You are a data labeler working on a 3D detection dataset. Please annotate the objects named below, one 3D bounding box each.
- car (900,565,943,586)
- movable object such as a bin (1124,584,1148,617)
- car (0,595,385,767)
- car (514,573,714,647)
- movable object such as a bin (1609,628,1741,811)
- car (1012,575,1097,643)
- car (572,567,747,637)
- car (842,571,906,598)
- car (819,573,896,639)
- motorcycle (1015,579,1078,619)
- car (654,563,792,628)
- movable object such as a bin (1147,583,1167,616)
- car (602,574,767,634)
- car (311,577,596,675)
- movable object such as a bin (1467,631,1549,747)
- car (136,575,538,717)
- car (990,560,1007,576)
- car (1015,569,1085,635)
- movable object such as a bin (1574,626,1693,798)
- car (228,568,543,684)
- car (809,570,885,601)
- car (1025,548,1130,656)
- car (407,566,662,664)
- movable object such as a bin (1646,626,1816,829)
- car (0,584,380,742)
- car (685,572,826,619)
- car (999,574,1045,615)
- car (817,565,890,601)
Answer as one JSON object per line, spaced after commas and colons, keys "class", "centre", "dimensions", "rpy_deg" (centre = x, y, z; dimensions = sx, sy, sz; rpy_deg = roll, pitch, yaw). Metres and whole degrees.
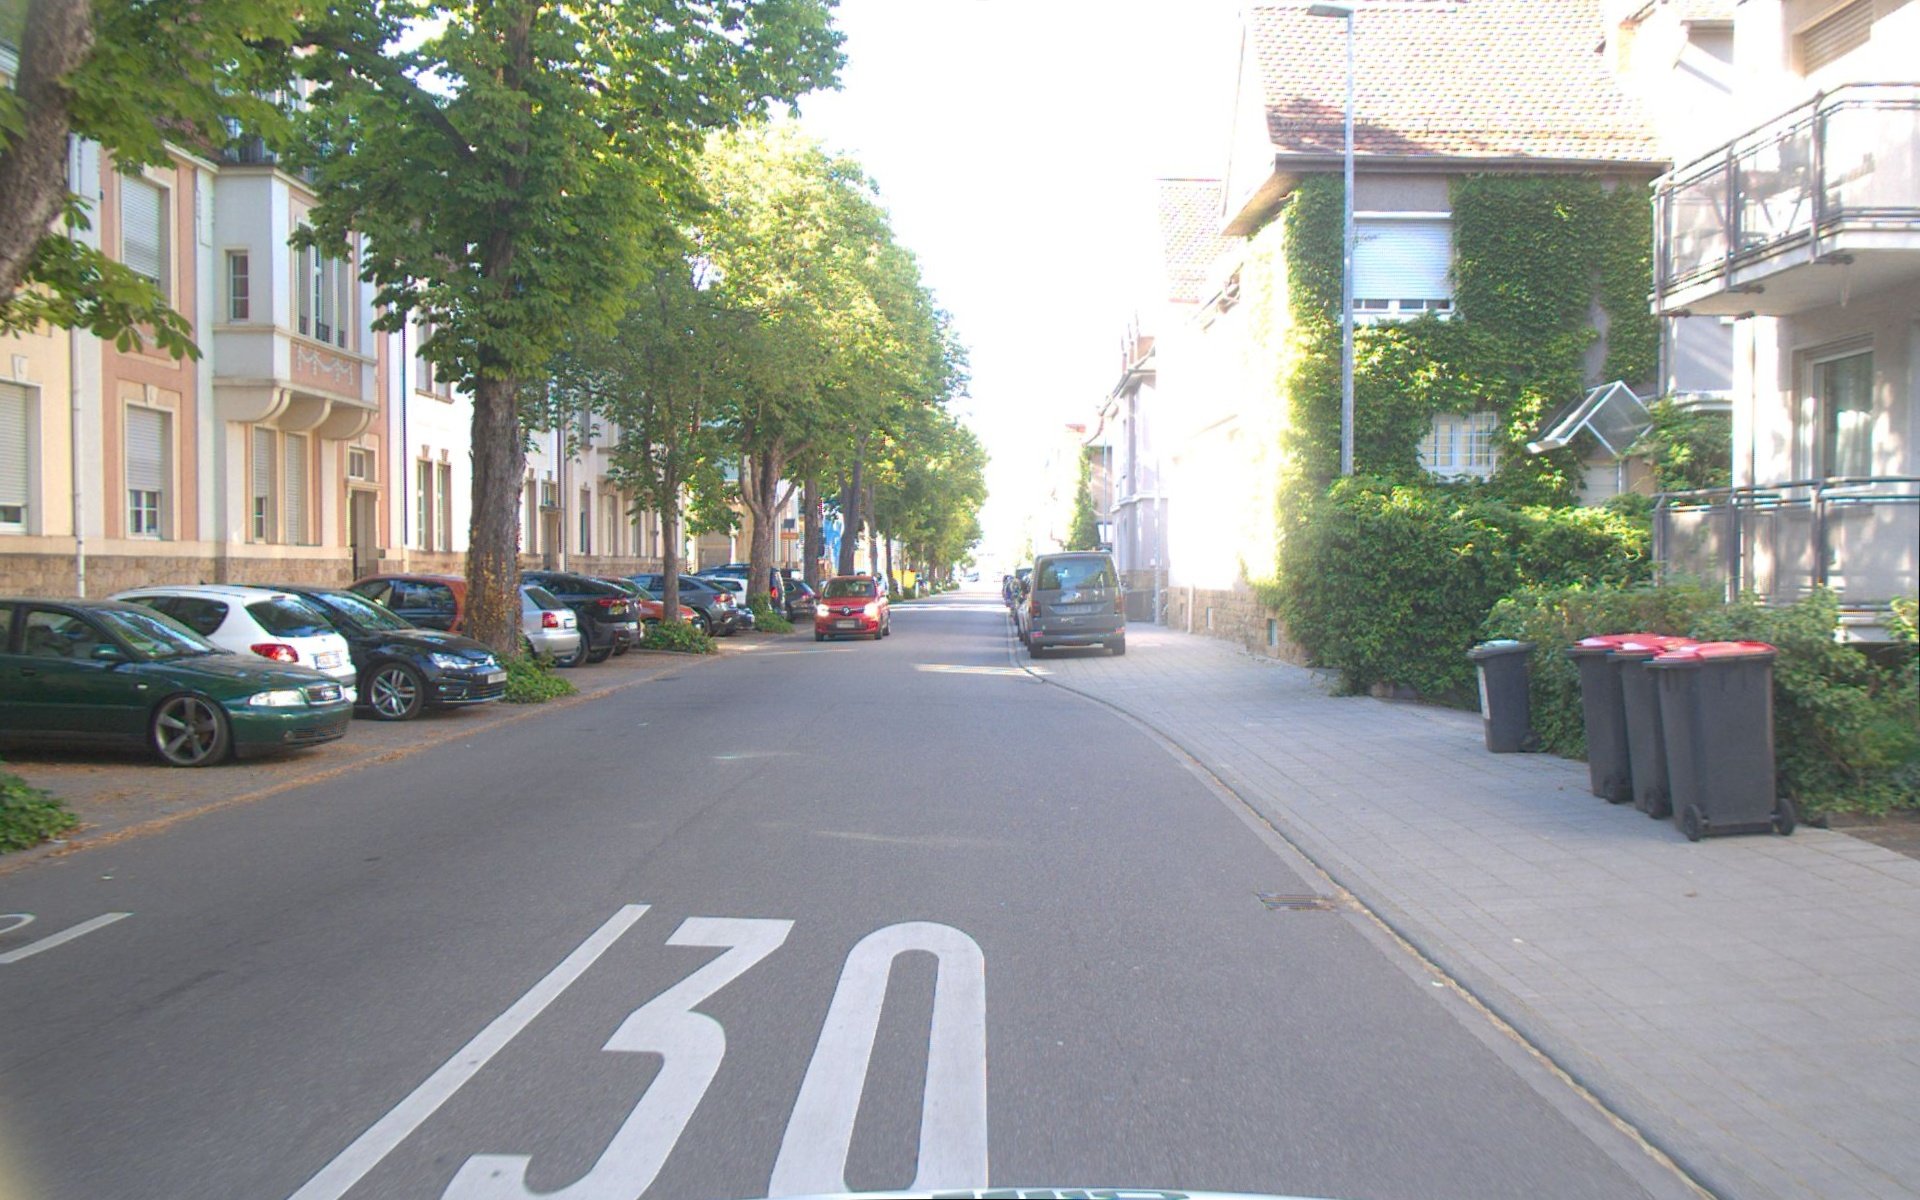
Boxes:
{"class": "car", "centre": [-3.747, -2.431, 161.068], "dimensions": [3.922, 1.873, 2.001], "rpy_deg": [2, 2, 3]}
{"class": "movable object such as a bin", "centre": [5.729, 0.022, 53.865], "dimensions": [0.634, 1.058, 0.828], "rpy_deg": [-1, 1, -1]}
{"class": "car", "centre": [-7.317, 0.647, 14.221], "dimensions": [4.125, 1.372, 1.703], "rpy_deg": [0, 0, 1]}
{"class": "car", "centre": [-7.376, 0.205, 35.521], "dimensions": [3.905, 1.541, 1.747], "rpy_deg": [0, 0, 1]}
{"class": "movable object such as a bin", "centre": [4.467, 0.730, 10.369], "dimensions": [0.473, 1.062, 0.657], "rpy_deg": [-4, 1, -1]}
{"class": "car", "centre": [2.196, 0.166, 39.271], "dimensions": [1.645, 1.483, 4.438], "rpy_deg": [-1, 1, -1]}
{"class": "car", "centre": [-7.310, 0.032, 40.472], "dimensions": [3.905, 1.620, 1.859], "rpy_deg": [1, 1, 0]}
{"class": "car", "centre": [-5.388, -0.977, 103.559], "dimensions": [3.911, 1.579, 1.835], "rpy_deg": [-1, 1, -7]}
{"class": "car", "centre": [-2.509, 0.117, 41.155], "dimensions": [1.607, 1.534, 3.703], "rpy_deg": [-1, 1, 1]}
{"class": "motorcycle", "centre": [3.108, -0.037, 59.431], "dimensions": [2.178, 1.362, 0.909], "rpy_deg": [0, 2, -39]}
{"class": "car", "centre": [-7.080, -0.142, 49.664], "dimensions": [3.898, 1.888, 1.829], "rpy_deg": [0, 0, 0]}
{"class": "movable object such as a bin", "centre": [6.423, -0.021, 53.894], "dimensions": [0.557, 1.058, 0.618], "rpy_deg": [-1, 1, -1]}
{"class": "car", "centre": [-7.101, 0.089, 42.830], "dimensions": [3.820, 1.471, 1.861], "rpy_deg": [1, 1, 6]}
{"class": "car", "centre": [-7.974, 0.381, 26.282], "dimensions": [3.904, 1.428, 1.831], "rpy_deg": [1, 1, 2]}
{"class": "movable object such as a bin", "centre": [4.730, 0.758, 14.297], "dimensions": [0.493, 0.931, 0.573], "rpy_deg": [-4, 1, 3]}
{"class": "car", "centre": [-7.045, 0.492, 18.954], "dimensions": [3.904, 1.508, 1.786], "rpy_deg": [1, 1, 2]}
{"class": "car", "centre": [4.064, -3.428, 175.591], "dimensions": [1.734, 1.659, 3.868], "rpy_deg": [0, 1, 2]}
{"class": "car", "centre": [2.415, 0.052, 44.911], "dimensions": [1.752, 1.628, 4.001], "rpy_deg": [-3, 0, 2]}
{"class": "movable object such as a bin", "centre": [4.485, 0.732, 11.040], "dimensions": [0.473, 1.062, 0.618], "rpy_deg": [-4, 1, -1]}
{"class": "car", "centre": [-8.239, 0.358, 23.940], "dimensions": [3.904, 1.534, 1.723], "rpy_deg": [-1, 0, 2]}
{"class": "car", "centre": [-5.963, -0.760, 87.286], "dimensions": [3.907, 1.489, 1.797], "rpy_deg": [2, 0, -3]}
{"class": "car", "centre": [2.281, -0.005, 33.251], "dimensions": [1.826, 1.949, 4.784], "rpy_deg": [-2, 1, 1]}
{"class": "car", "centre": [-7.348, 0.247, 28.816], "dimensions": [3.904, 1.594, 1.864], "rpy_deg": [1, 1, 2]}
{"class": "movable object such as a bin", "centre": [4.428, 0.713, 9.538], "dimensions": [0.585, 1.062, 0.707], "rpy_deg": [-4, 1, -1]}
{"class": "car", "centre": [-7.814, 0.592, 16.569], "dimensions": [3.361, 1.477, 1.704], "rpy_deg": [0, 0, 3]}
{"class": "car", "centre": [-6.745, -0.158, 54.958], "dimensions": [4.439, 1.529, 1.892], "rpy_deg": [0, 1, 0]}
{"class": "car", "centre": [2.517, -0.242, 67.971], "dimensions": [1.665, 1.566, 4.155], "rpy_deg": [-3, 1, 0]}
{"class": "car", "centre": [-5.764, -0.911, 89.881], "dimensions": [3.907, 1.791, 1.797], "rpy_deg": [2, 0, -3]}
